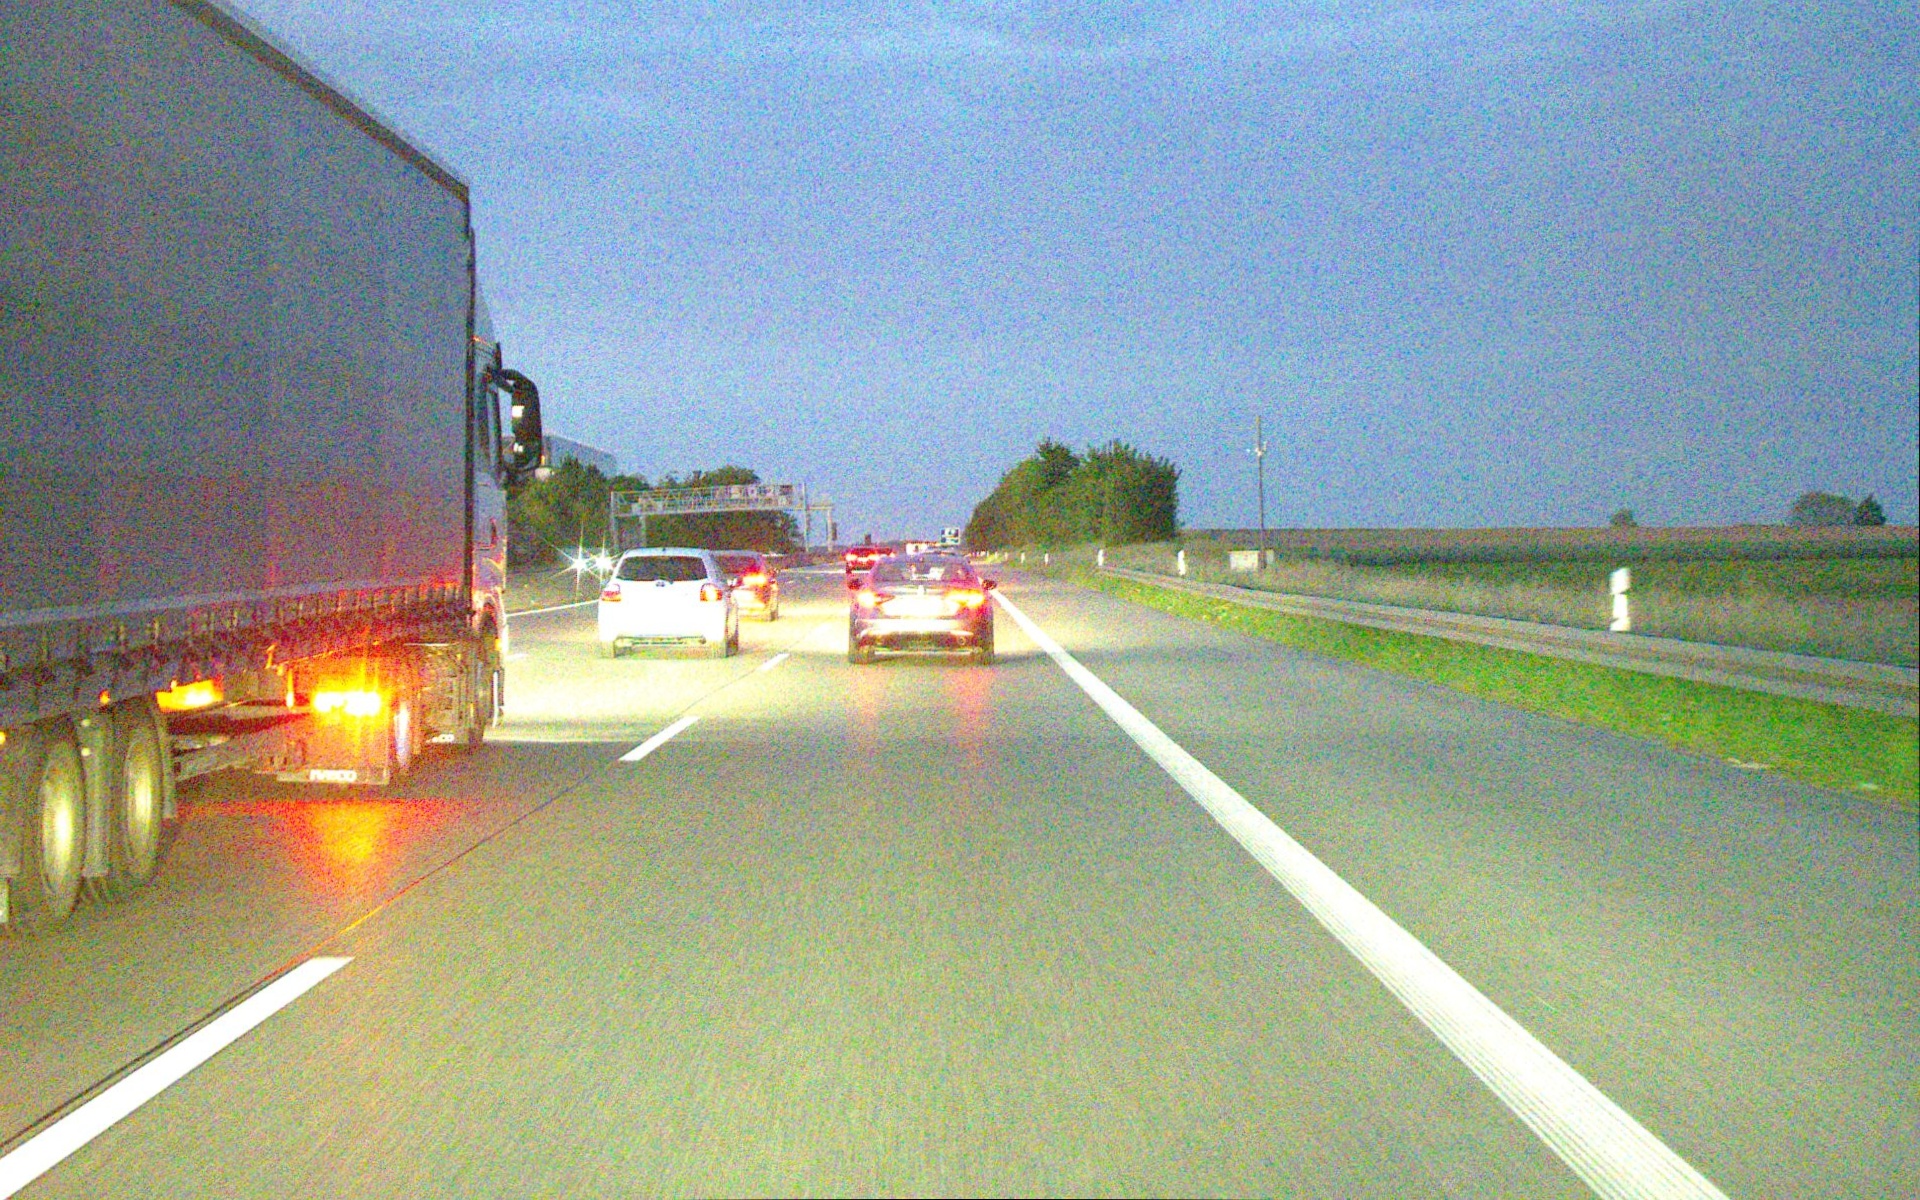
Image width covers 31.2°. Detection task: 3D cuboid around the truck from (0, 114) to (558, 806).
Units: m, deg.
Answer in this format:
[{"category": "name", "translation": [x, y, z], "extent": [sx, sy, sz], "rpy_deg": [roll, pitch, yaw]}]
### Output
[{"category": "truck", "translation": [-4.533, -0.853, 23.436], "extent": [2.777, 4.079, 6.103], "rpy_deg": [-1, 0, 1]}]

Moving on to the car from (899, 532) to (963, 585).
[{"category": "car", "translation": [-0.897, -1.248, 104.438], "extent": [1.880, 1.547, 4.000], "rpy_deg": [1, 0, -1]}]

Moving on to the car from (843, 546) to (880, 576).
[{"category": "car", "translation": [-5.111, -2.022, 179.350], "extent": [1.880, 1.547, 4.000], "rpy_deg": [1, 0, -1]}]

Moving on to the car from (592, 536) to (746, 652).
[{"category": "car", "translation": [-4.014, -0.096, 48.046], "extent": [1.744, 1.519, 4.414], "rpy_deg": [1, 0, 0]}]

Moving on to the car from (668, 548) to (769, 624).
[{"category": "car", "translation": [-4.830, -0.297, 69.245], "extent": [1.722, 1.466, 4.726], "rpy_deg": [1, 0, -1]}]

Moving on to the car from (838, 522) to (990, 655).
[{"category": "car", "translation": [-0.590, -0.160, 45.109], "extent": [1.880, 1.637, 4.000], "rpy_deg": [1, 0, 0]}]

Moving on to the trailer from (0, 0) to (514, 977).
[{"category": "trailer", "translation": [-4.598, -0.799, 16.725], "extent": [2.794, 4.071, 14.525], "rpy_deg": [-1, 0, 1]}]
